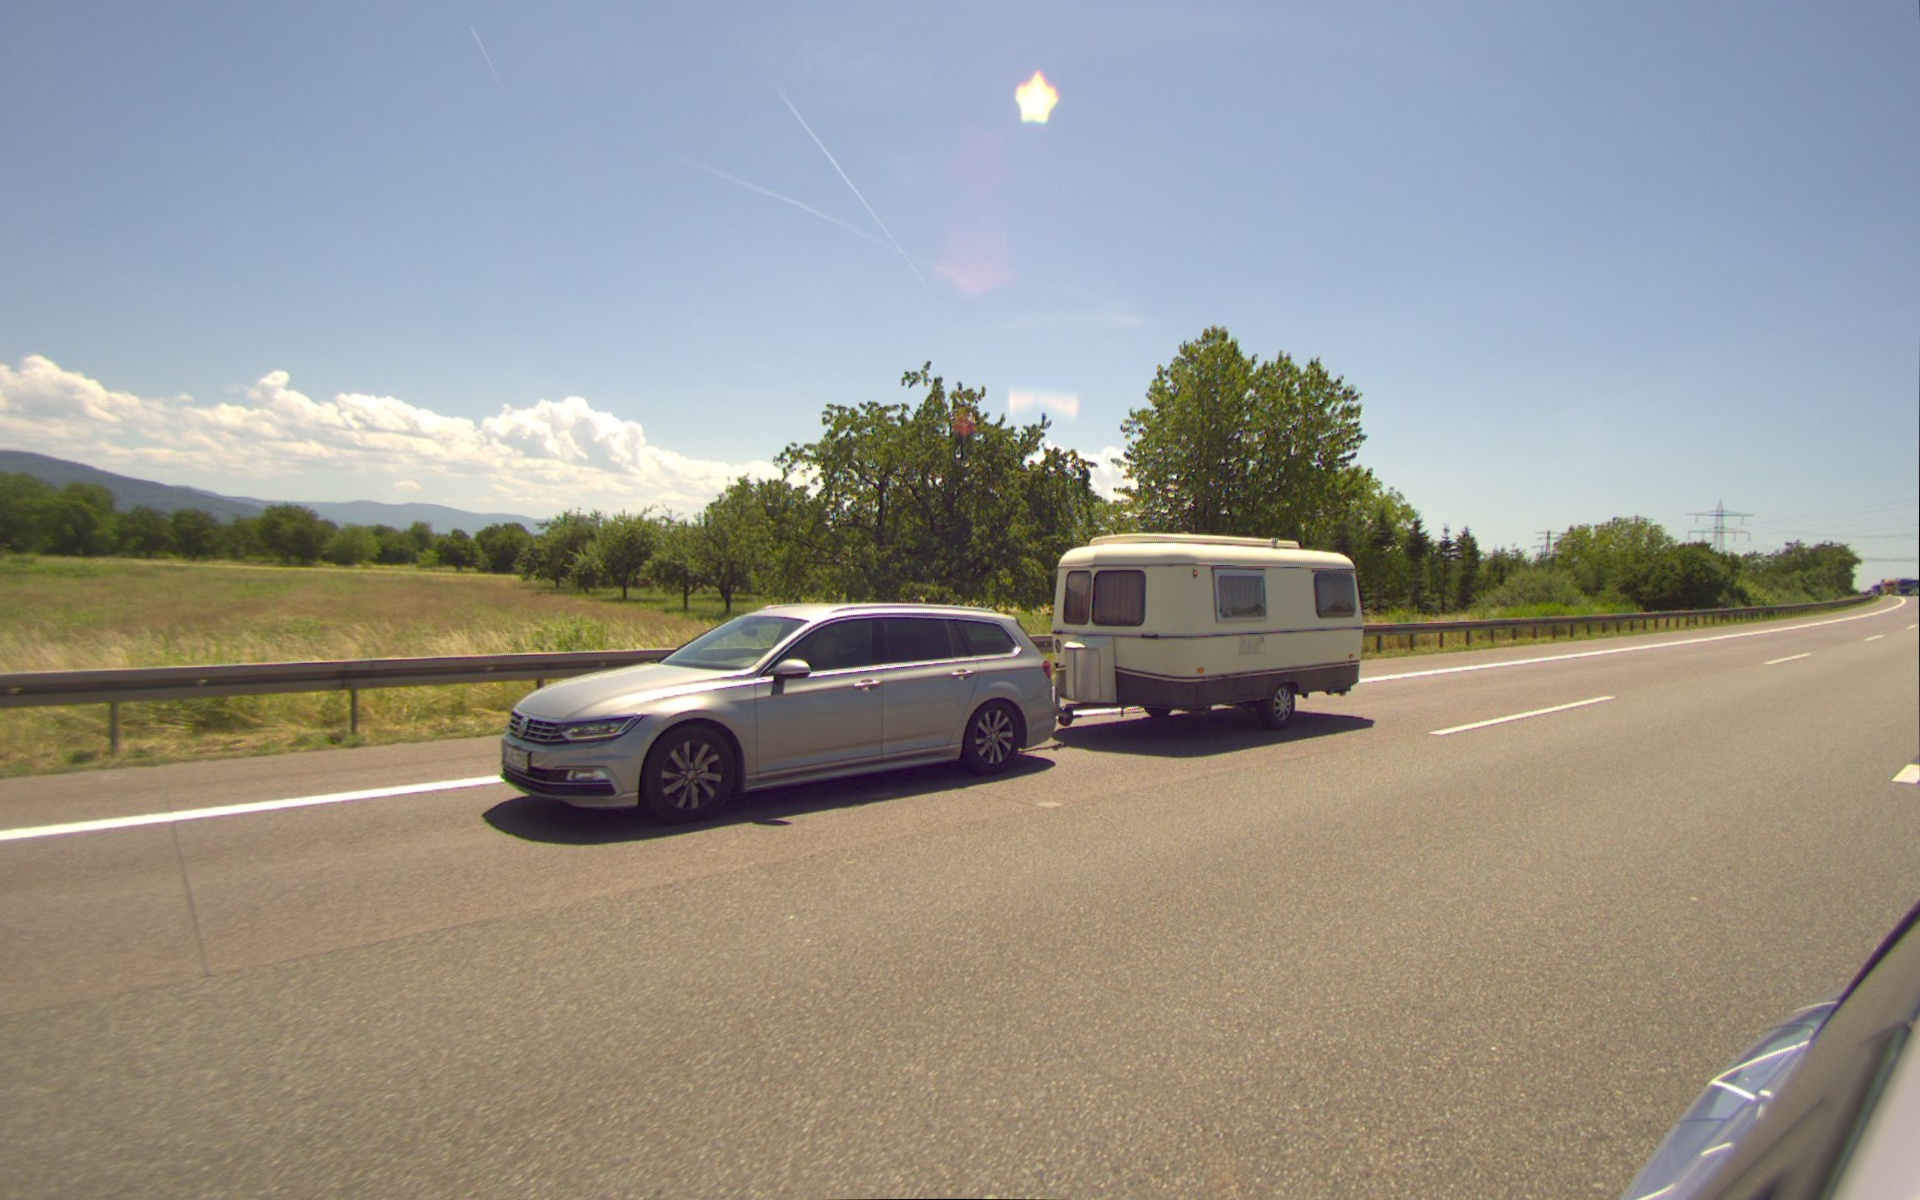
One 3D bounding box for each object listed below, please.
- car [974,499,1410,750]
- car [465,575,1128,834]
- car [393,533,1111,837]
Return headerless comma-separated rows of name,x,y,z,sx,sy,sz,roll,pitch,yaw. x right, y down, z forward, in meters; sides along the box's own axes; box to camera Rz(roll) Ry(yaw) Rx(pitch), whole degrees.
car,2.952,0.230,12.141,5.228,2.350,2.447,1,1,-41
car,-1.039,0.620,8.463,5.285,1.535,1.890,0,0,-41
car,-1.295,0.481,8.203,5.416,1.679,2.047,1,1,-43
